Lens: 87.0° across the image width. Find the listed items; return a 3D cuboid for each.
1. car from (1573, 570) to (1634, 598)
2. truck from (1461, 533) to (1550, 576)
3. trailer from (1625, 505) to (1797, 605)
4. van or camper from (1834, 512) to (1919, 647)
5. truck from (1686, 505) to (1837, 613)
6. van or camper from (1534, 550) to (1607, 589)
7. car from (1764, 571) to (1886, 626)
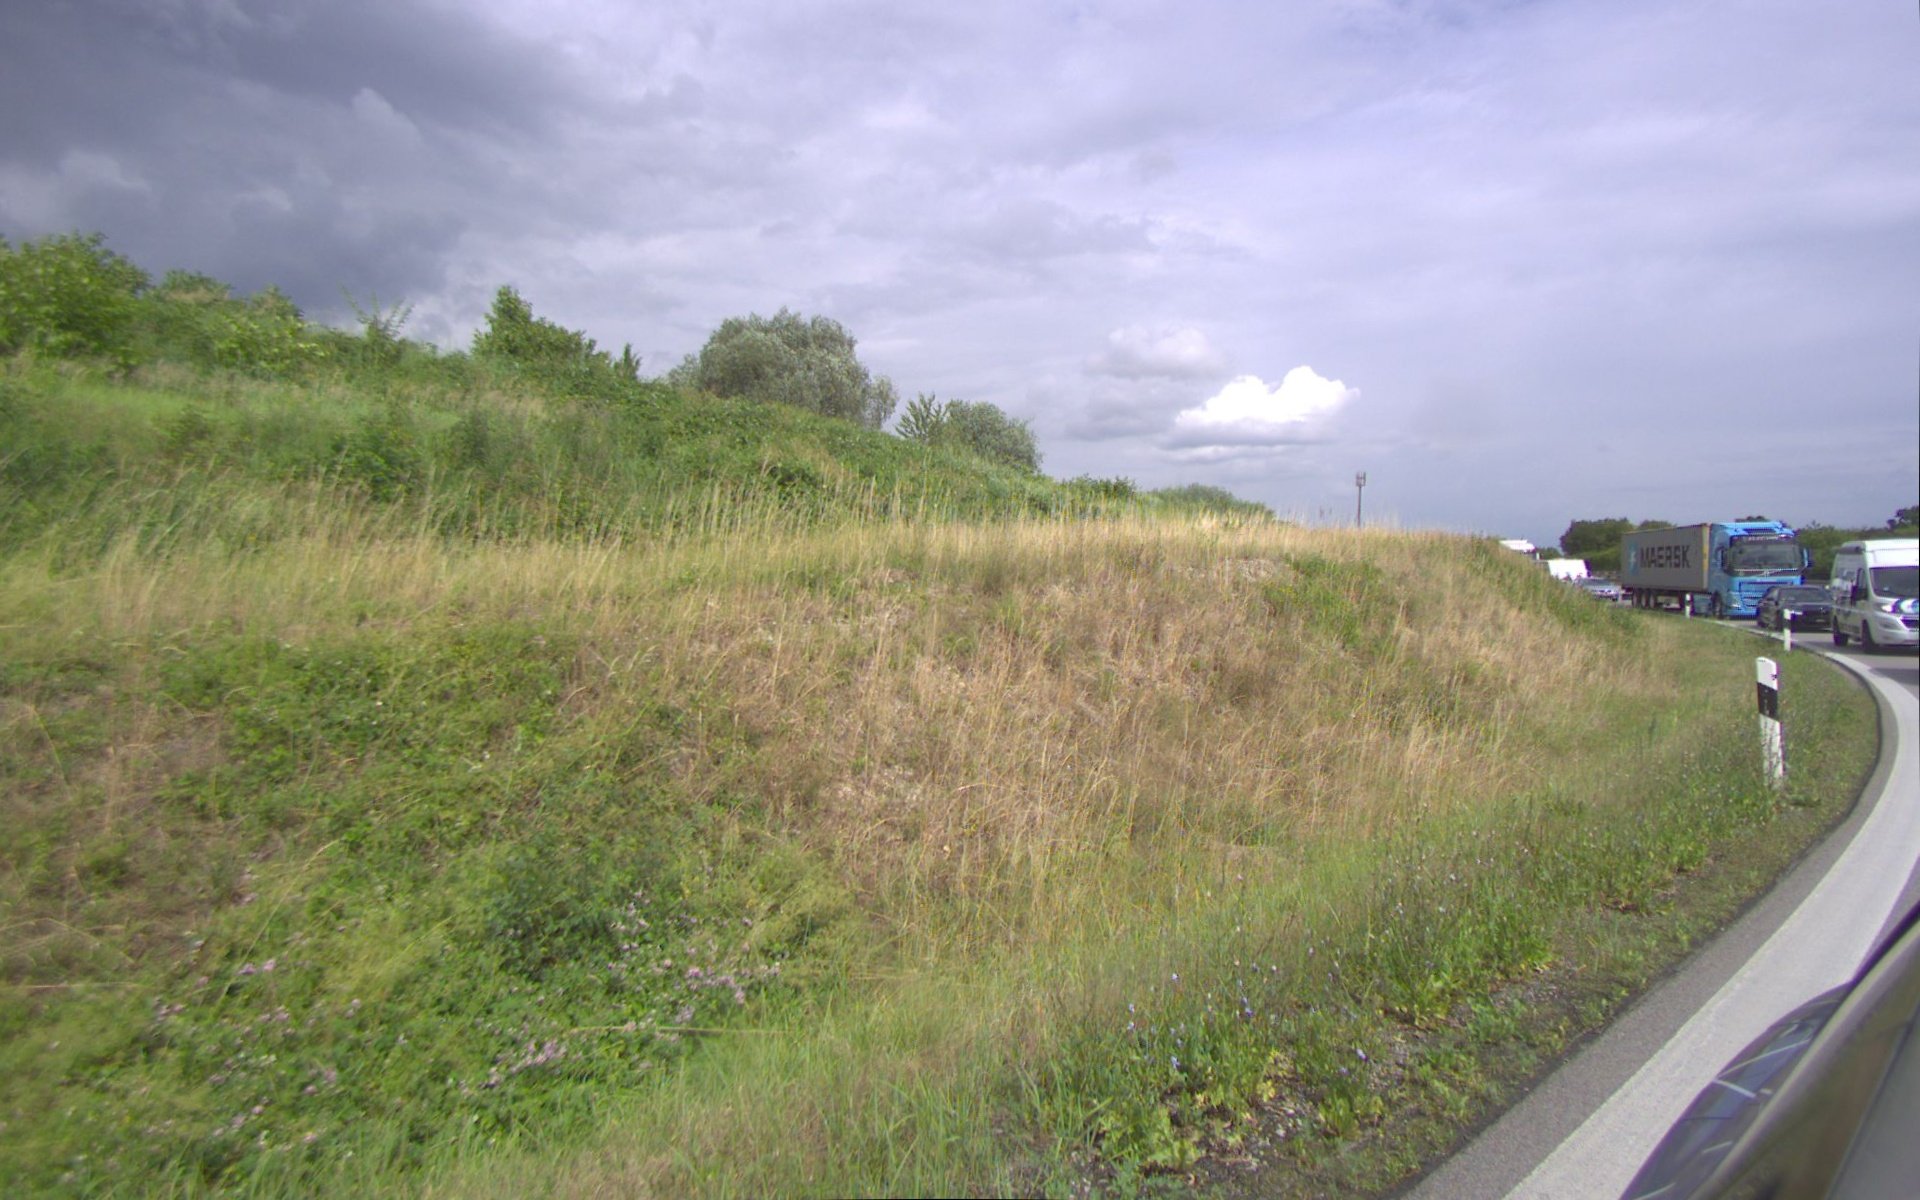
[{"bbox_3d":[38.930,-0.982,61.304,1.971,1.548,3.983,0,3,15],"label":"car"},{"bbox_3d":[44.266,-3.646,82.620,3.075,3.279,11.130,0,2,10],"label":"truck"},{"bbox_3d":[35.504,-1.970,48.565,3.234,4.213,11.941,0,1,20],"label":"trailer"},{"bbox_3d":[23.020,-0.495,24.267,2.382,2.945,5.652,0,1,34],"label":"van or camper"},{"bbox_3d":[33.116,-1.611,42.164,3.143,4.124,6.599,0,1,22],"label":"truck"},{"bbox_3d":[40.453,-2.093,67.256,2.515,2.237,5.693,-1,4,13],"label":"van or camper"},{"bbox_3d":[28.064,-0.111,32.996,1.979,1.638,3.966,1,2,25],"label":"car"}]
